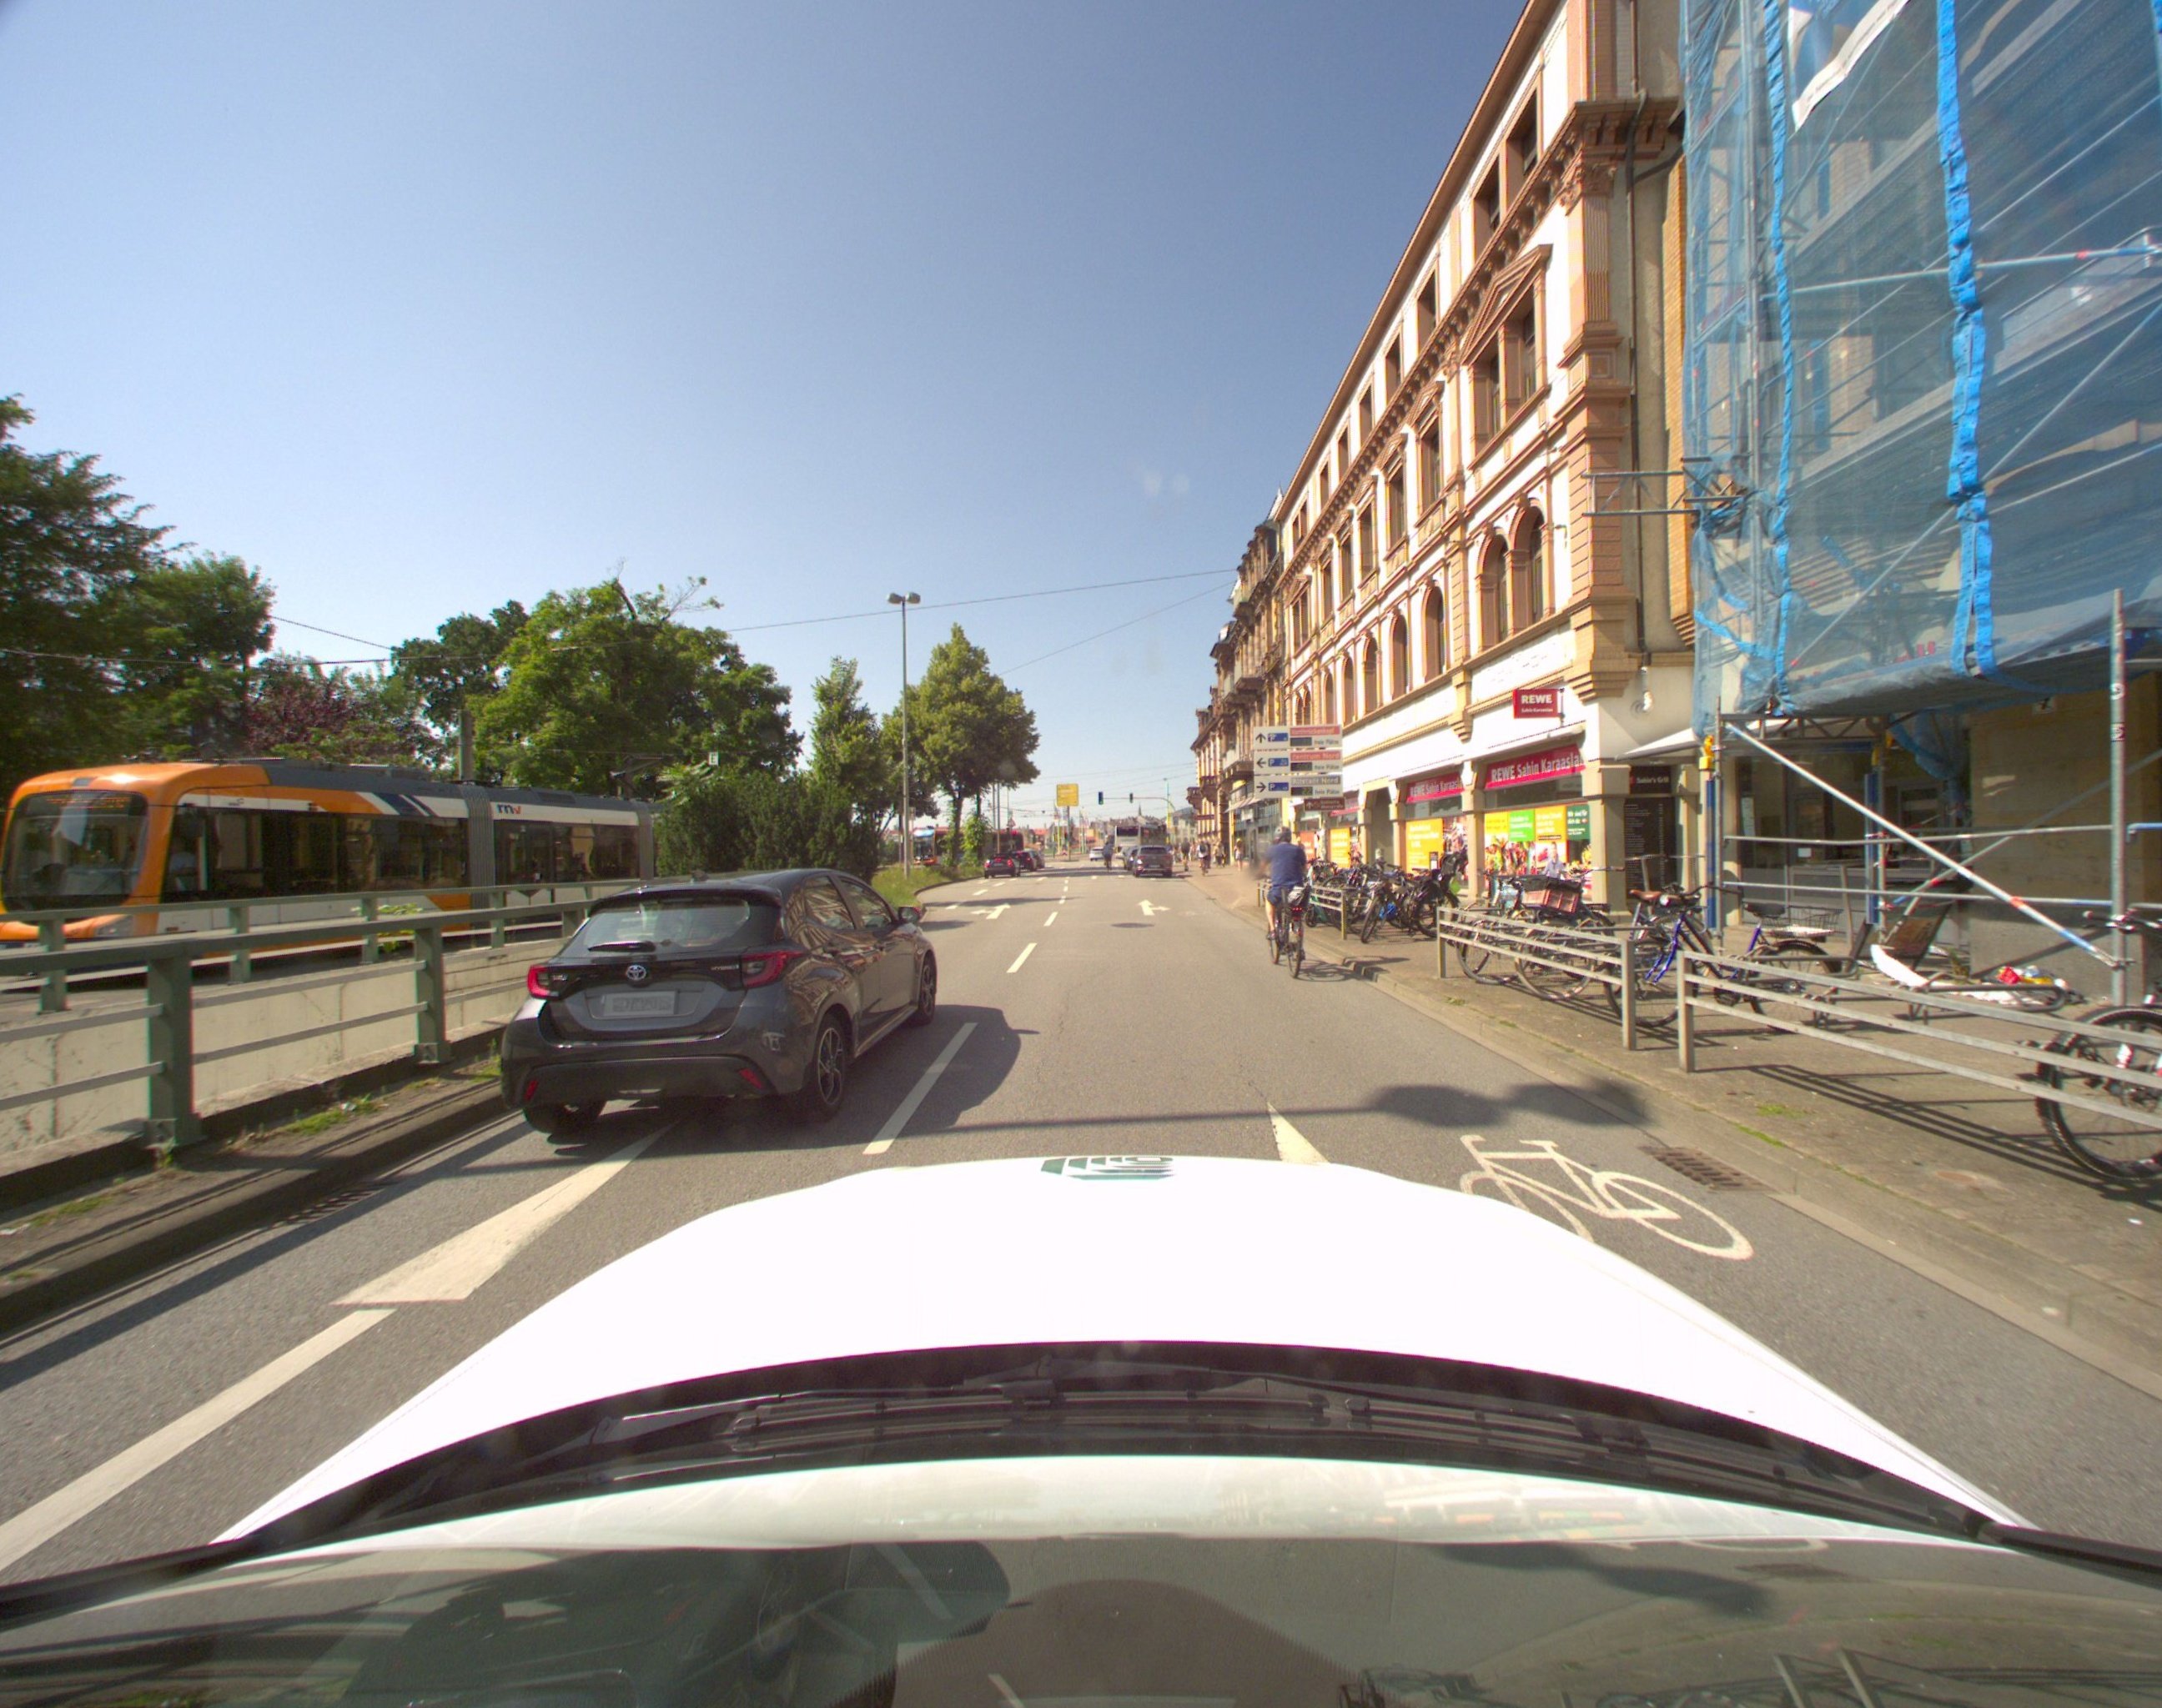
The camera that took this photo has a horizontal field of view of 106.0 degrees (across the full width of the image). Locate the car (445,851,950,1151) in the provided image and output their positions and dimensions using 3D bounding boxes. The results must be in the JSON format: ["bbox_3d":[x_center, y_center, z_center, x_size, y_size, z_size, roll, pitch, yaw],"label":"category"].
[{"bbox_3d":[-2.286,0.761,6.156,1.770,1.475,4.002,-2,0,2],"label":"car"}]

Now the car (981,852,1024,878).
[{"bbox_3d":[-4.366,0.607,46.065,1.808,1.332,4.003,1,0,3],"label":"car"}]

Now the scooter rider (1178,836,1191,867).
[{"bbox_3d":[5.818,-0.121,45.961,0.685,1.729,0.779,1,0,6],"label":"scooter rider"}]

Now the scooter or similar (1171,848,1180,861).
[{"bbox_3d":[7.616,0.014,65.538,0.598,1.047,0.799,1,0,0],"label":"scooter or similar"}]

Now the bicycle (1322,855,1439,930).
[{"bbox_3d":[4.777,0.601,13.048,1.686,1.178,0.491,0,-1,2],"label":"bicycle"}]

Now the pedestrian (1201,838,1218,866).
[{"bbox_3d":[7.628,-0.101,48.494,0.859,1.640,0.875,1,0,0],"label":"pedestrian"}]

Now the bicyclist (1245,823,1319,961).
[{"bbox_3d":[2.464,0.450,10.054,0.686,1.616,0.918,1,0,1],"label":"bicyclist"}]

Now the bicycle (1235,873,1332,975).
[{"bbox_3d":[2.453,0.810,10.091,0.731,1.093,1.911,1,0,1],"label":"bicycle"}]

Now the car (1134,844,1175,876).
[{"bbox_3d":[3.549,0.287,39.898,1.866,1.492,4.003,1,0,3],"label":"car"}]

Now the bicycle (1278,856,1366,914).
[{"bbox_3d":[4.969,0.625,16.814,1.687,1.178,0.470,0,-1,2],"label":"bicycle"}]

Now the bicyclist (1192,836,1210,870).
[{"bbox_3d":[5.688,-0.028,38.595,0.686,1.577,1.050,1,0,1],"label":"bicyclist"}]

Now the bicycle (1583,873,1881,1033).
[{"bbox_3d":[4.729,0.695,5.992,1.686,1.087,0.609,0,0,2],"label":"bicycle"}]

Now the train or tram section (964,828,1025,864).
[{"bbox_3d":[-8.961,-0.790,85.406,2.798,3.581,8.270,-1,-1,22],"label":"train or tram section"}]

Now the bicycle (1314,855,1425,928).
[{"bbox_3d":[4.797,0.615,13.592,1.686,1.178,0.452,0,-1,2],"label":"bicycle"}]

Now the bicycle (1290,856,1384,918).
[{"bbox_3d":[4.941,0.622,15.754,1.686,1.178,0.459,0,-1,2],"label":"bicycle"}]

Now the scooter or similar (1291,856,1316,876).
[{"bbox_3d":[7.963,0.429,29.194,0.688,0.650,0.565,-4,-1,1],"label":"scooter or similar"}]

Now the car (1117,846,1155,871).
[{"bbox_3d":[3.397,0.263,50.951,1.988,1.492,3.998,1,0,-1],"label":"car"}]

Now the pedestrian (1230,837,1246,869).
[{"bbox_3d":[8.244,-0.072,42.722,0.652,1.620,0.815,-2,1,0],"label":"pedestrian"}]

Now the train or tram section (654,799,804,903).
[{"bbox_3d":[-13.387,-0.098,31.696,2.603,3.581,6.901,1,0,2],"label":"train or tram section"}]

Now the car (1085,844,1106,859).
[{"bbox_3d":[1.593,-0.269,86.472,1.849,1.507,4.007,1,0,6],"label":"car"}]

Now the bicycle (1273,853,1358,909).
[{"bbox_3d":[5.019,0.581,17.472,1.687,1.178,0.470,0,-1,2],"label":"bicycle"}]

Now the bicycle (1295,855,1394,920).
[{"bbox_3d":[4.887,0.609,15.173,1.686,1.178,0.514,0,-1,2],"label":"bicycle"}]

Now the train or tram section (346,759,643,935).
[{"bbox_3d":[-13.763,-0.139,19.881,2.603,3.581,6.106,1,0,2],"label":"train or tram section"}]

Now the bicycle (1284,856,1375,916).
[{"bbox_3d":[4.952,0.628,16.290,1.686,1.178,0.460,0,-1,2],"label":"bicycle"}]

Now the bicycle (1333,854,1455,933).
[{"bbox_3d":[4.778,0.594,12.490,1.686,1.178,0.498,0,-1,2],"label":"bicycle"}]

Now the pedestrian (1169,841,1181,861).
[{"bbox_3d":[7.633,-0.244,66.141,0.859,1.640,0.875,1,0,0],"label":"pedestrian"}]

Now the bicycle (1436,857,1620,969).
[{"bbox_3d":[4.876,0.624,8.956,1.686,1.178,0.609,0,0,2],"label":"bicycle"}]

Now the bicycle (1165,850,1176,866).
[{"bbox_3d":[6.277,0.310,57.333,0.730,1.093,1.900,1,0,5],"label":"bicycle"}]

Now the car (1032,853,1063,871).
[{"bbox_3d":[-2.550,0.604,62.605,2.029,1.332,4.003,1,0,3],"label":"car"}]

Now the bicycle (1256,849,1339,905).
[{"bbox_3d":[4.959,0.528,18.726,1.686,1.178,0.609,-3,0,2],"label":"bicycle"}]

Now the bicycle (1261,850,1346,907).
[{"bbox_3d":[4.923,0.534,18.072,1.686,1.178,0.609,-2,0,2],"label":"bicycle"}]

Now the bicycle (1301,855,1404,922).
[{"bbox_3d":[4.859,0.612,14.624,1.686,1.178,0.457,0,-1,2],"label":"bicycle"}]

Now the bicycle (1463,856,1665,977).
[{"bbox_3d":[4.865,0.612,8.274,1.686,1.178,0.609,0,0,2],"label":"bicycle"}]

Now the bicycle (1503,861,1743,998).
[{"bbox_3d":[4.877,0.661,7.398,1.764,1.178,0.609,0,0,2],"label":"bicycle"}]

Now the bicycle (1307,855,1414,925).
[{"bbox_3d":[4.824,0.610,14.107,1.686,1.178,0.463,0,-1,2],"label":"bicycle"}]

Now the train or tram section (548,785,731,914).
[{"bbox_3d":[-13.579,-0.119,25.584,2.603,3.581,5.359,1,0,2],"label":"train or tram section"}]

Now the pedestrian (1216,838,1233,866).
[{"bbox_3d":[8.712,-0.123,49.501,0.859,1.640,0.875,1,0,0],"label":"pedestrian"}]

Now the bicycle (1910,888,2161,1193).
[{"bbox_3d":[4.577,0.711,3.327,1.732,1.109,0.609,0,0,2],"label":"bicycle"}]

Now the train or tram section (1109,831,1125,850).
[{"bbox_3d":[7.241,-2.716,163.771,2.810,3.777,8.235,1,0,4],"label":"train or tram section"}]

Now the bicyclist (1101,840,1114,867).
[{"bbox_3d":[1.567,-0.038,48.199,0.686,1.577,1.049,1,0,0],"label":"bicyclist"}]

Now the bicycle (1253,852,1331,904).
[{"bbox_3d":[5.003,0.563,19.358,1.686,1.178,0.609,-1,0,2],"label":"bicycle"}]

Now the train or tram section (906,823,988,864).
[{"bbox_3d":[-12.417,-0.851,76.869,2.798,3.581,10.085,-1,-1,22],"label":"train or tram section"}]

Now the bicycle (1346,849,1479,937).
[{"bbox_3d":[4.804,0.556,11.870,1.686,1.241,0.609,0,0,2],"label":"bicycle"}]

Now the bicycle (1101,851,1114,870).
[{"bbox_3d":[1.562,0.377,48.181,0.731,1.093,1.898,1,0,1],"label":"bicycle"}]

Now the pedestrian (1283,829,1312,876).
[{"bbox_3d":[7.927,-0.039,29.831,0.753,1.656,0.837,-4,-1,1],"label":"pedestrian"}]

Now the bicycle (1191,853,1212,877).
[{"bbox_3d":[5.683,0.510,38.564,0.731,1.093,1.898,1,0,2],"label":"bicycle"}]

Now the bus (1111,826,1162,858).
[{"bbox_3d":[5.392,-1.079,77.873,2.946,2.776,8.679,1,0,17],"label":"bus"}]

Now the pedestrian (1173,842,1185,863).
[{"bbox_3d":[8.141,-0.130,67.582,0.859,1.640,0.875,-1,0,0],"label":"pedestrian"}]

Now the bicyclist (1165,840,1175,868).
[{"bbox_3d":[6.278,-0.002,57.333,0.685,1.962,0.779,1,0,4],"label":"bicyclist"}]

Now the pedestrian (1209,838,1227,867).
[{"bbox_3d":[7.889,-0.090,47.026,0.859,1.640,0.875,-1,0,0],"label":"pedestrian"}]

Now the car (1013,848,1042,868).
[{"bbox_3d":[-3.580,0.275,55.204,1.445,1.300,4.003,1,0,3],"label":"car"}]

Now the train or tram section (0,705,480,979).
[{"bbox_3d":[-13.873,-0.159,13.801,2.604,3.581,6.106,1,0,2],"label":"train or tram section"}]

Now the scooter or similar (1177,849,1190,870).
[{"bbox_3d":[5.790,0.319,45.878,0.685,1.167,1.466,1,0,6],"label":"scooter or similar"}]
